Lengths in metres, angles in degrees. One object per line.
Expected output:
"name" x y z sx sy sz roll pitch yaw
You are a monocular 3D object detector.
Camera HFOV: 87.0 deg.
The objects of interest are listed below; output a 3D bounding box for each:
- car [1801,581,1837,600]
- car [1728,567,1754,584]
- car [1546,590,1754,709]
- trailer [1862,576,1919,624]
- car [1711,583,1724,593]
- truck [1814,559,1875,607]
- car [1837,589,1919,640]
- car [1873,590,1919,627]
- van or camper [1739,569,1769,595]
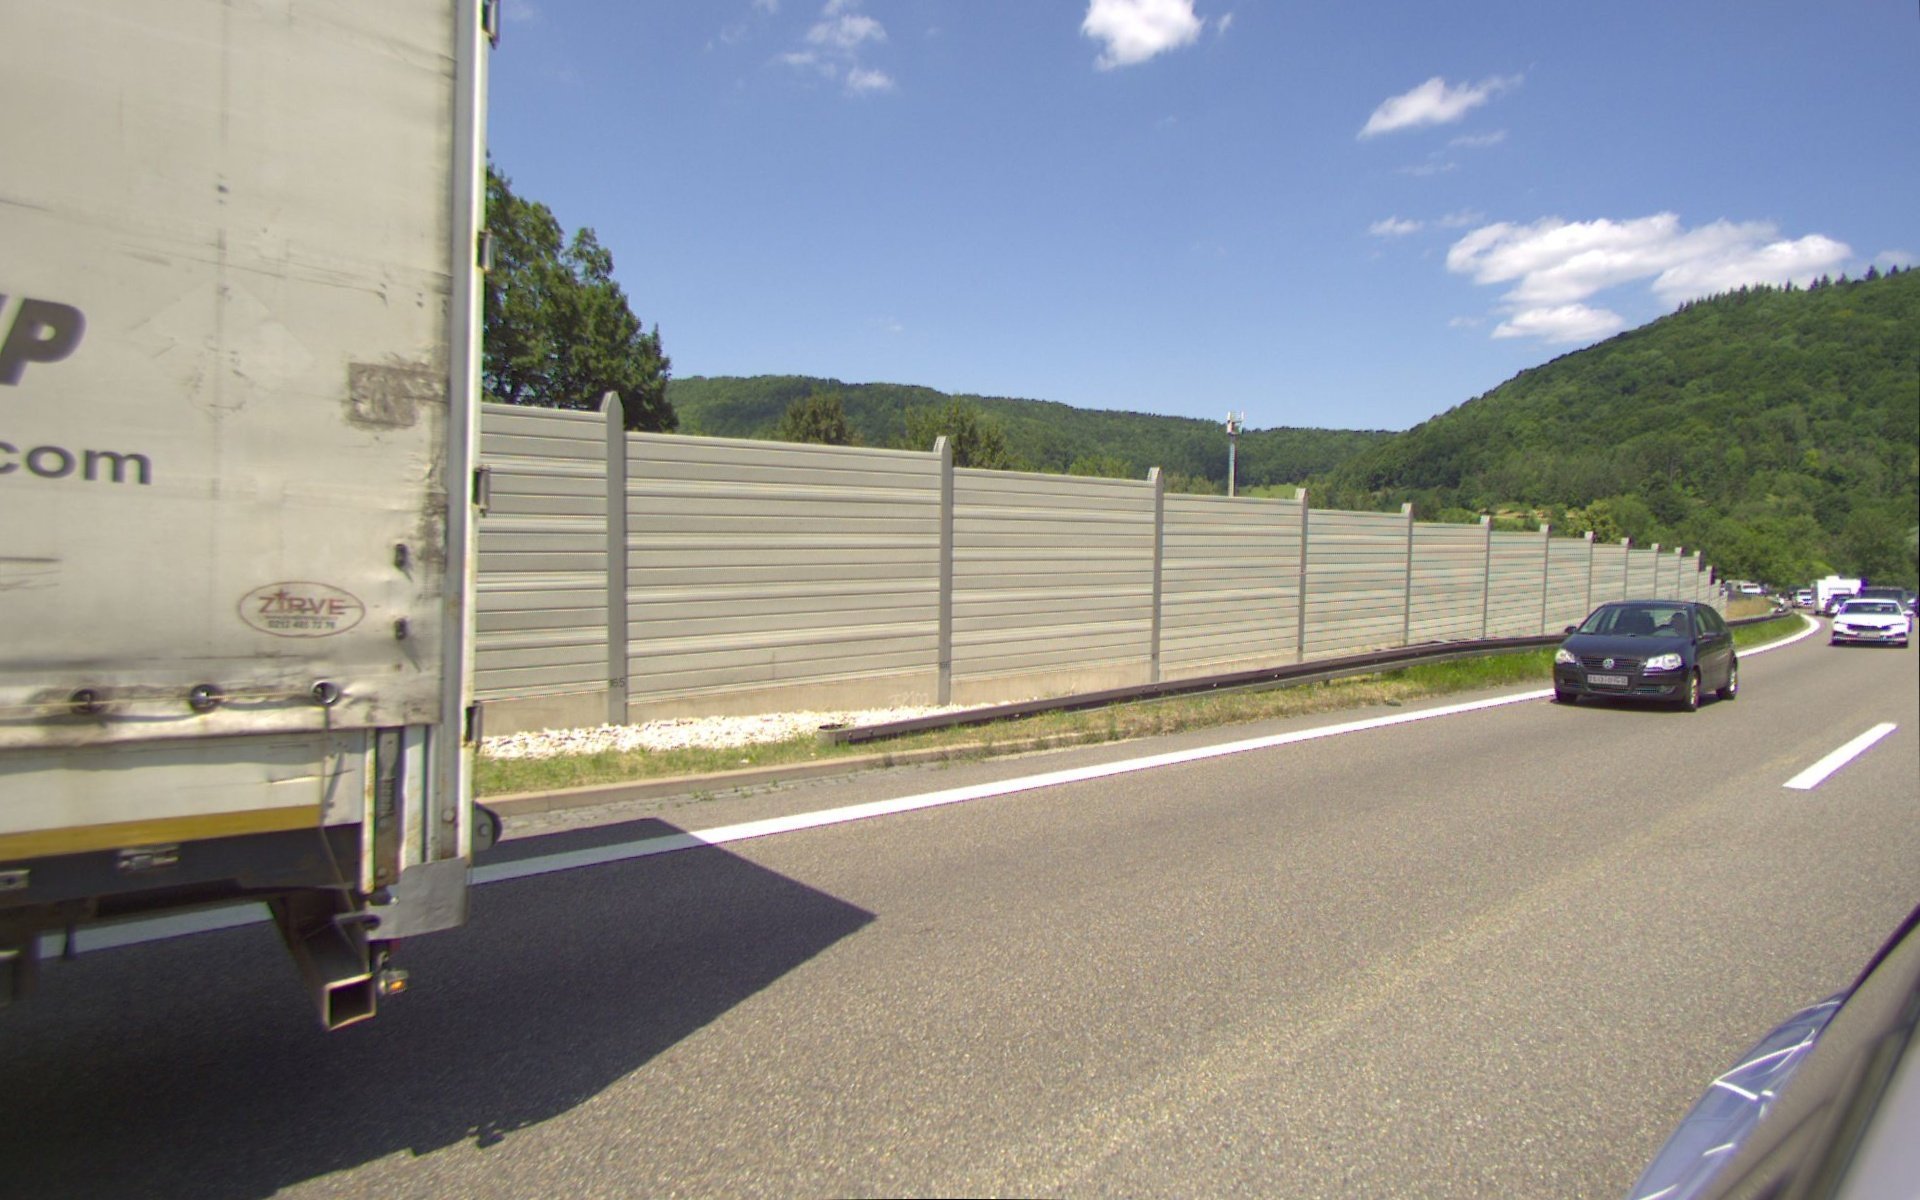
"car" 75.147 -0.861 88.612 1.685 1.552 3.641 -3 -1 30
"car" 99.515 -3.107 129.056 1.982 2.039 3.960 -1 0 29
"car" 9.966 0.600 14.512 3.774 1.440 1.693 -1 2 -43
"trailer" 41.103 -0.030 44.584 1.992 1.994 3.940 0 1 41
"car" 116.545 -1.852 155.661 1.236 1.497 2.929 -3 -1 30
"truck" 62.477 -1.167 71.603 2.589 3.147 6.767 -3 -1 37
"car" 28.636 0.414 31.286 3.659 1.448 1.905 0 2 -43
"car" 38.683 0.312 41.682 1.484 1.400 3.683 3 2 41
"van or camper" 94.987 -2.145 121.142 1.892 3.065 4.828 0 1 27
